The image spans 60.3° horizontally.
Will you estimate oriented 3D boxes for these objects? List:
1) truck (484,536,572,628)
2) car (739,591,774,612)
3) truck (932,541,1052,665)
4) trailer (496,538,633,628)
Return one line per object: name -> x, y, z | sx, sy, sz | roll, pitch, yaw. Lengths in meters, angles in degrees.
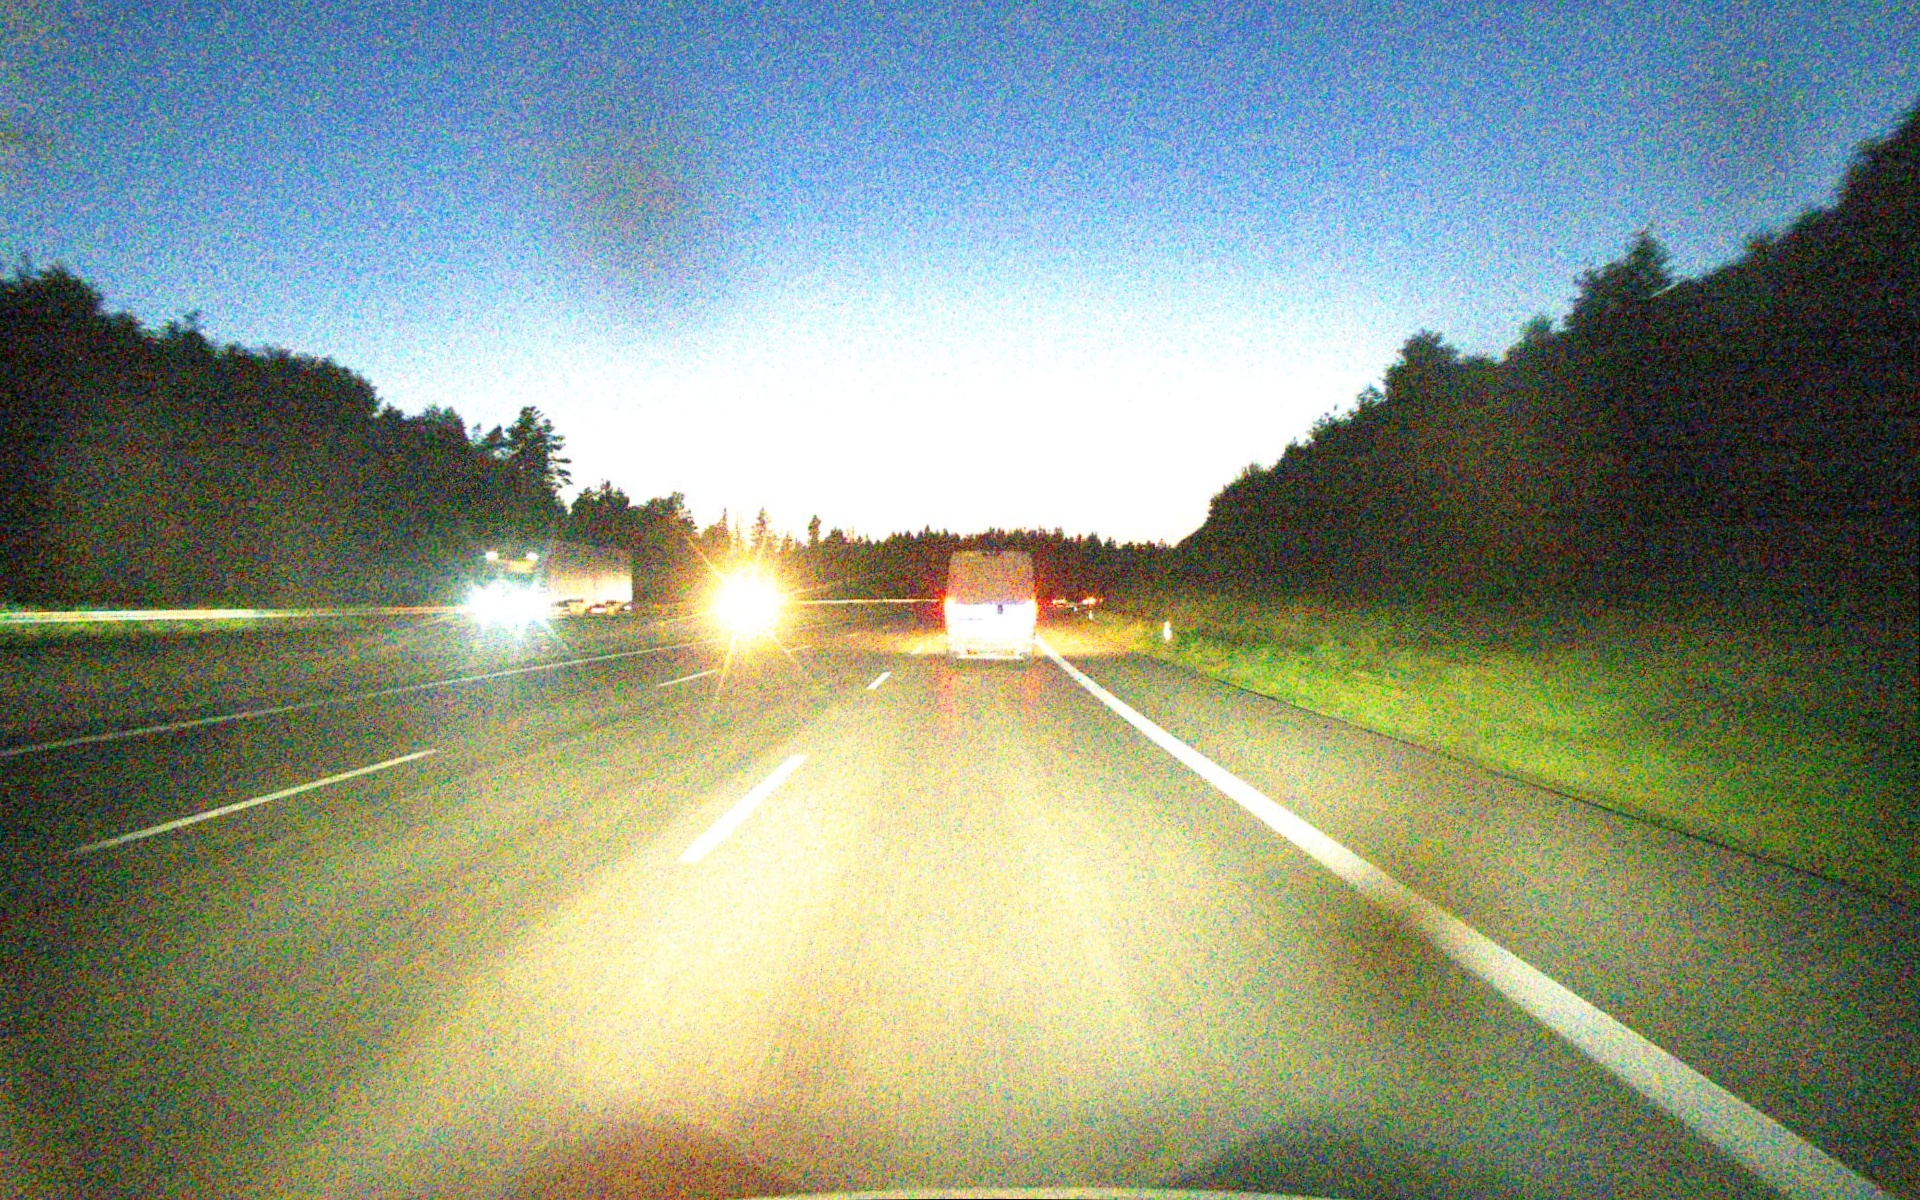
truck -> -20.902, -0.805, 80.251 | 2.657, 4.273, 5.421 | 0, -1, 2
car -> -15.517, 0.127, 126.156 | 1.952, 1.607, 4.585 | 0, -1, 2
truck -> 0.754, 0.106, 40.086 | 2.576, 2.670, 8.685 | 0, -1, 1
trailer -> -20.712, -0.734, 88.092 | 2.633, 4.292, 17.255 | 0, -1, 2
